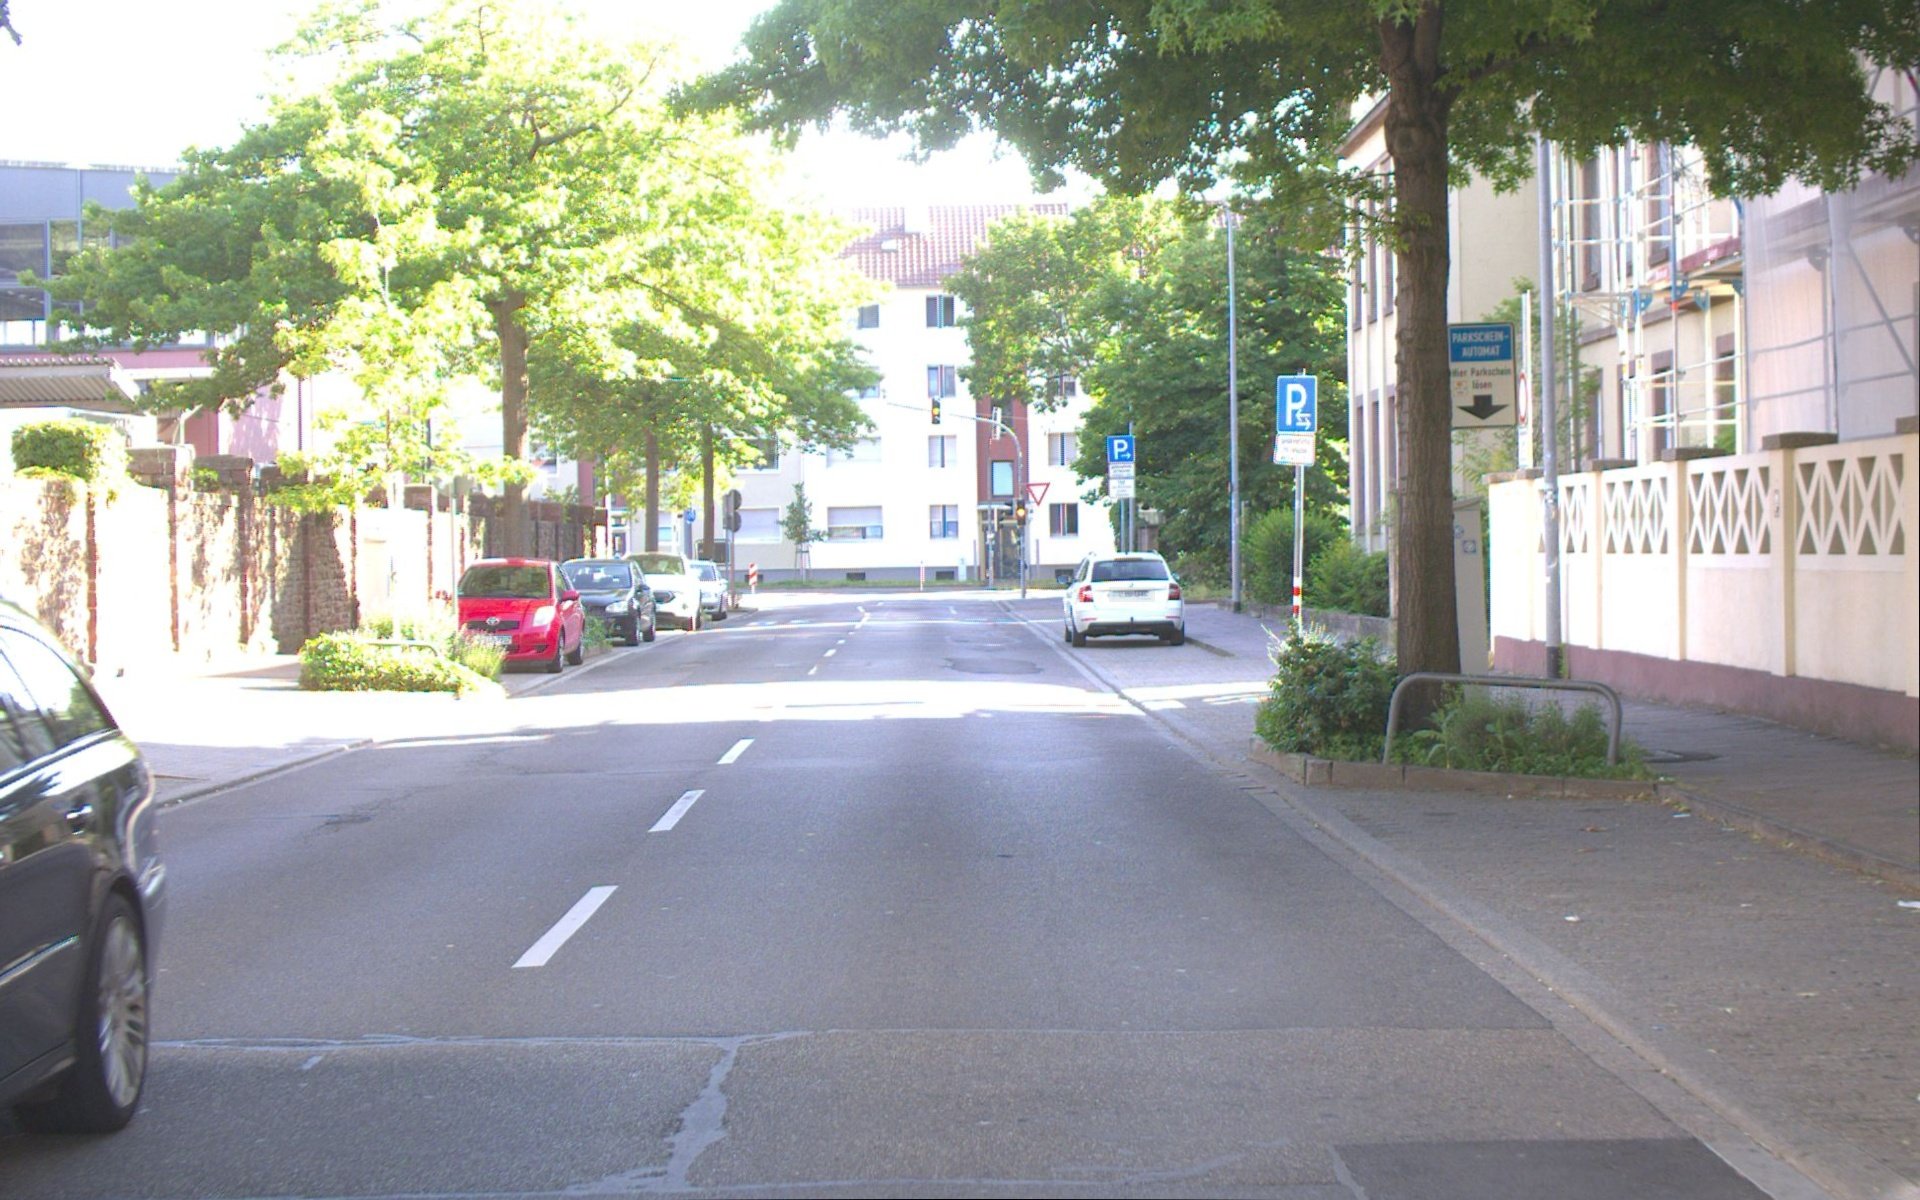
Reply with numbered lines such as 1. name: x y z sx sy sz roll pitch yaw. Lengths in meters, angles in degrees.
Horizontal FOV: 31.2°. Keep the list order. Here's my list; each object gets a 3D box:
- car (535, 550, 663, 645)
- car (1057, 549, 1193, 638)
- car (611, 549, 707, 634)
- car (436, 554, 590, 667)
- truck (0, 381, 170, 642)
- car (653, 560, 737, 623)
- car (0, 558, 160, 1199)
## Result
1. car: -6.289 -0.068 60.242 1.737 1.587 4.106 0 1 1
2. car: 2.582 -0.130 54.676 1.832 1.318 4.496 -1 1 -1
3. car: -6.193 -0.202 71.032 1.720 1.678 4.351 -1 1 -2
4. car: -6.065 0.110 46.932 1.609 1.454 3.708 1 1 0
5. truck: -14.302 -1.323 52.686 2.732 3.698 7.429 1 1 -1
6. car: -6.400 -0.229 83.407 1.726 1.470 4.478 1 1 -1
7. car: -3.005 0.678 7.200 1.821 1.431 3.970 -2 1 -2
